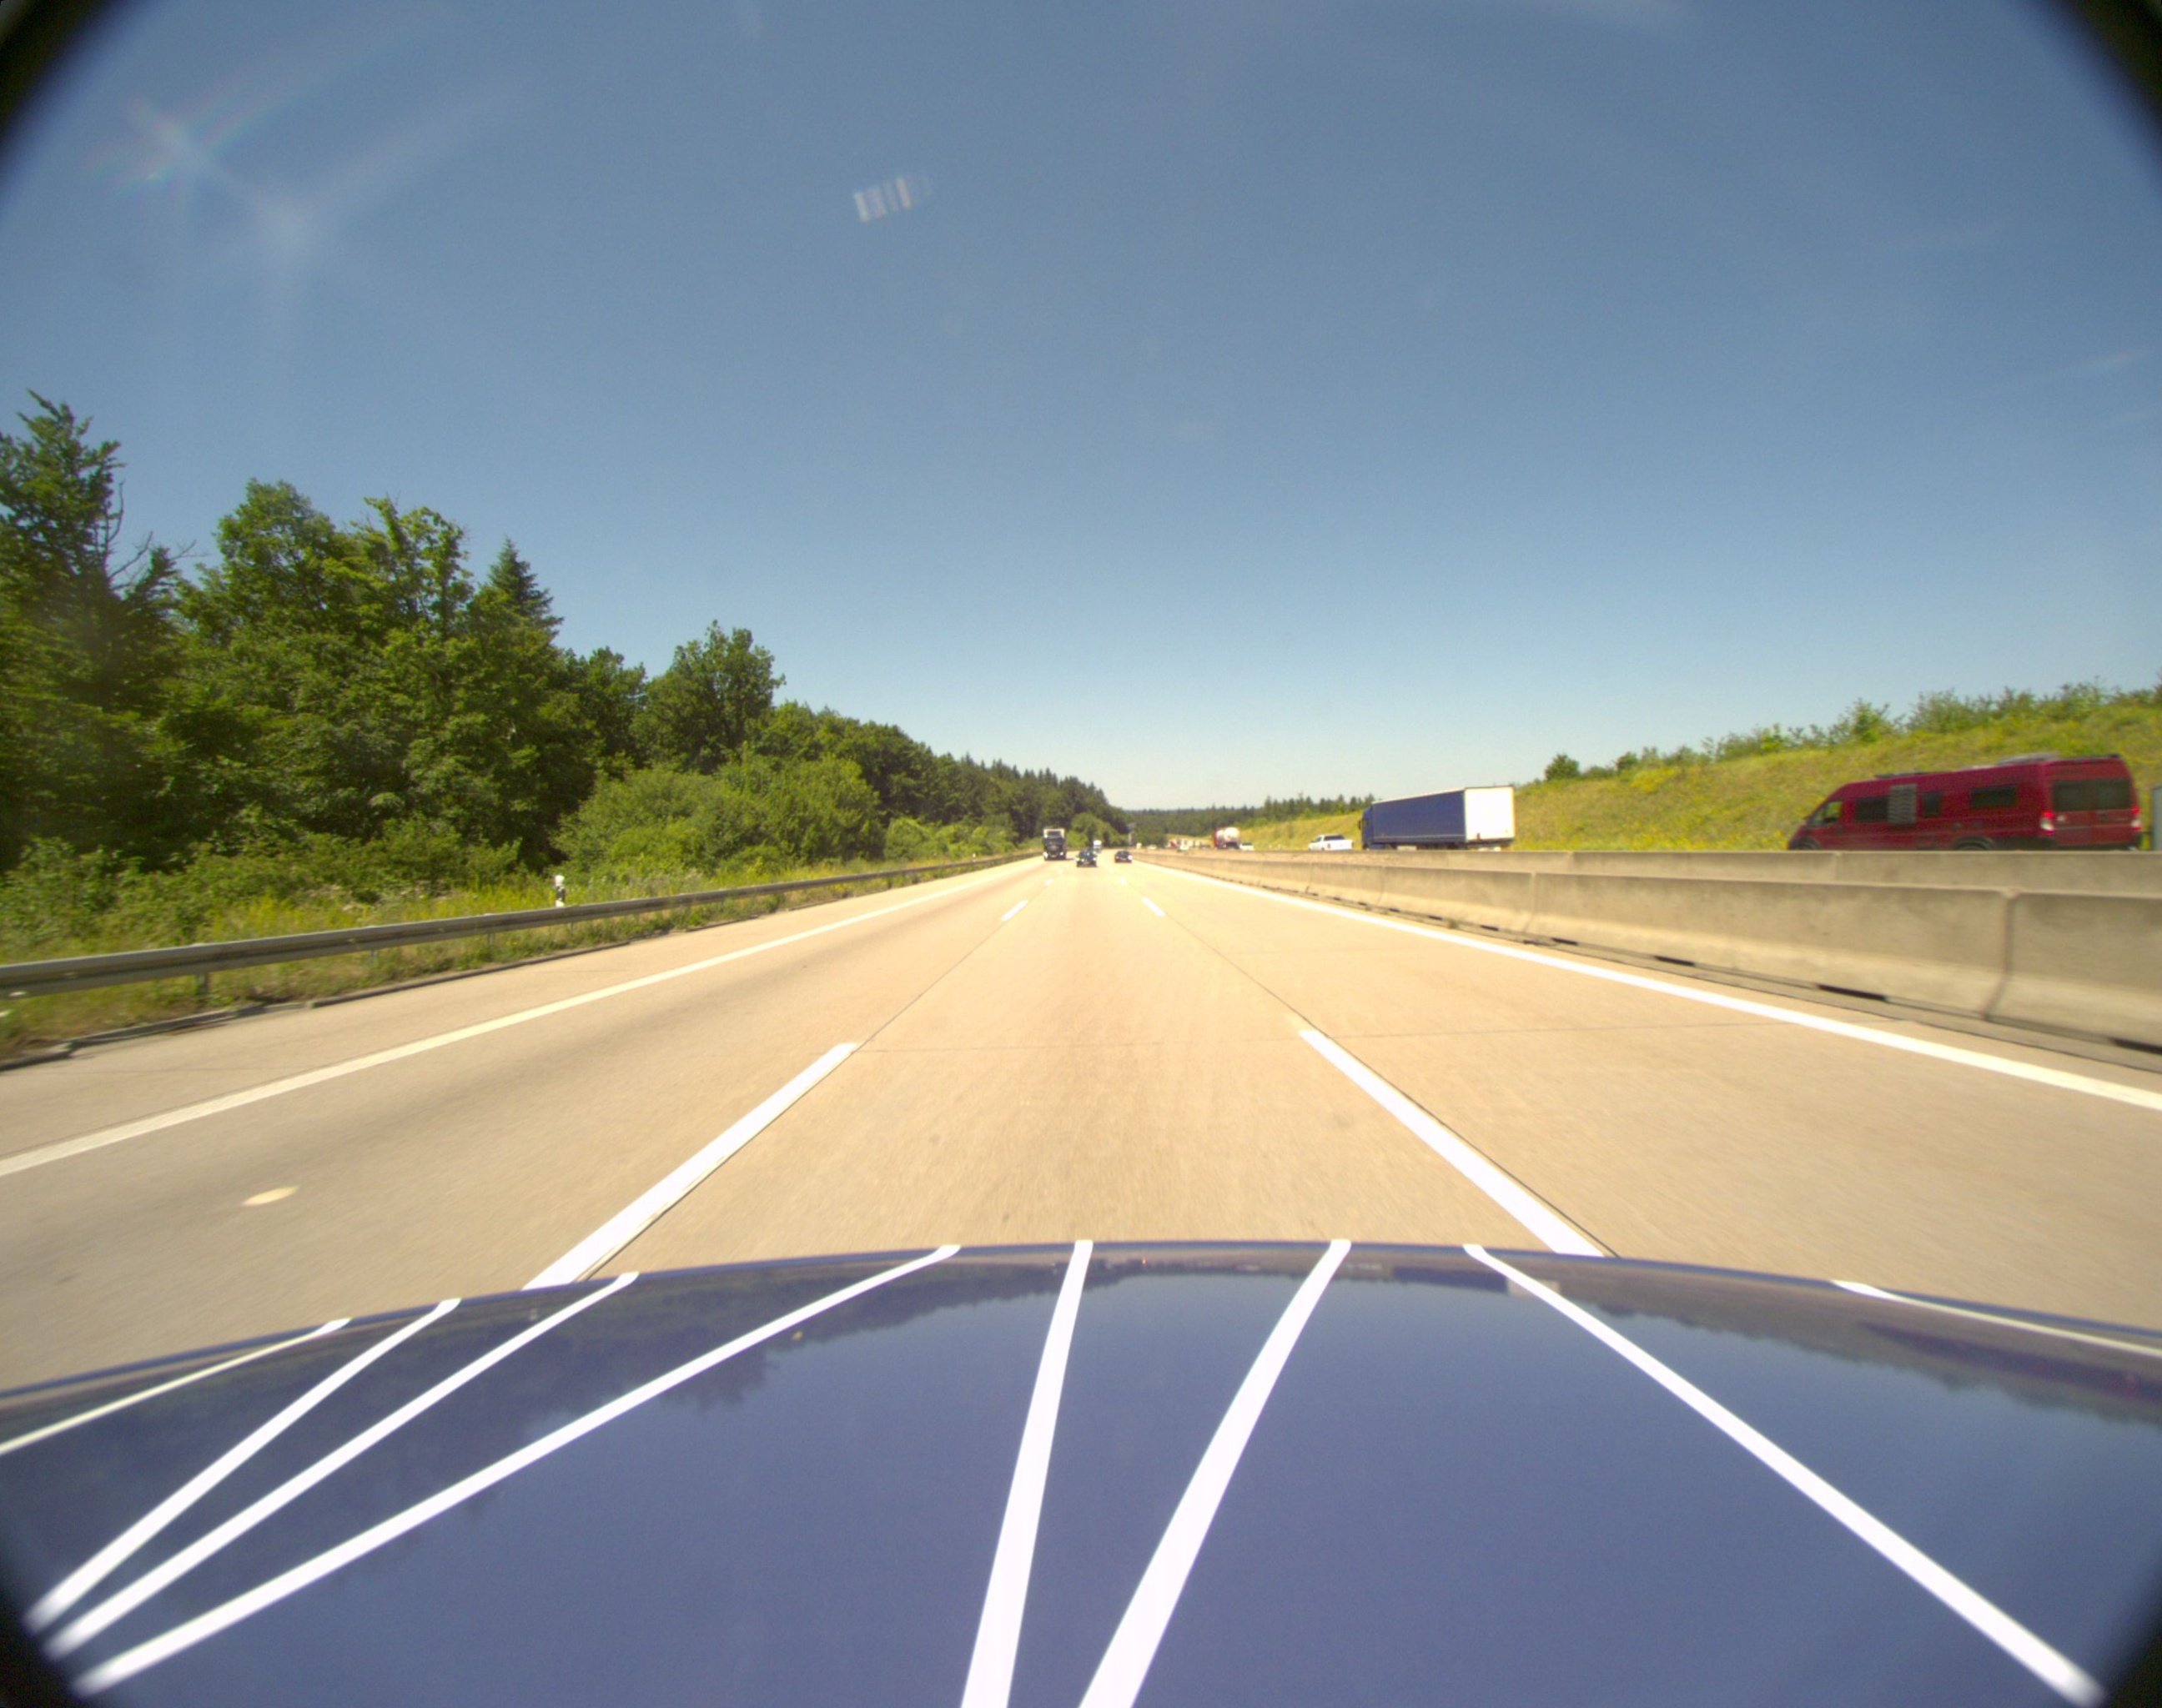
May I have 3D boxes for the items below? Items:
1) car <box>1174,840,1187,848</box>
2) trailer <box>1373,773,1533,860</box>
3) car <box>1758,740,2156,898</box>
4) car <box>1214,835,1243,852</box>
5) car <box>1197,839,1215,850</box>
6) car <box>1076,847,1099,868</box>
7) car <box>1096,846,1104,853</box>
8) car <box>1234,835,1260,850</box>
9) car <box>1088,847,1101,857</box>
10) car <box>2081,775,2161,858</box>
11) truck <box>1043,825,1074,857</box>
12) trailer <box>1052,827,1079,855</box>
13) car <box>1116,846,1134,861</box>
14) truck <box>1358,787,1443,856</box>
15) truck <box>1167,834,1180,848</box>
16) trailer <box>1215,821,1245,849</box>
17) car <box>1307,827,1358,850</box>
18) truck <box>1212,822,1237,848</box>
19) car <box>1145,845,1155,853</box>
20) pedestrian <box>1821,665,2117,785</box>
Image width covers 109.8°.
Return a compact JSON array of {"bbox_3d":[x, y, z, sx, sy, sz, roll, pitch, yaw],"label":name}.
[{"bbox_3d":[18.970,-1.906,144.457,1.998,1.574,4.179,-2,1,1],"label":"car"},{"bbox_3d":[22.230,-2.087,46.902,3.264,4.479,13.737,-2,1,1],"label":"trailer"},{"bbox_3d":[21.332,-0.750,19.295,1.998,3.223,7.060,-2,1,0],"label":"car"},{"bbox_3d":[14.462,-1.061,74.544,1.998,1.574,4.402,-2,1,1],"label":"car"},{"bbox_3d":[18.645,-1.450,113.480,1.998,1.574,4.429,-2,1,1],"label":"car"},{"bbox_3d":[0.622,0.267,68.568,1.931,1.694,4.399,-2,1,2],"label":"car"},{"bbox_3d":[4.755,-1.141,189.811,1.842,1.547,4.000,-2,1,4],"label":"car"},{"bbox_3d":[18.954,-1.303,86.952,1.998,1.574,4.529,-2,1,1],"label":"car"},{"bbox_3d":[2.346,-0.364,131.475,1.998,1.694,4.400,-2,1,2],"label":"car"},{"bbox_3d":[21.388,-0.706,13.833,1.618,1.591,3.576,0,1,1],"label":"car"},{"bbox_3d":[-2.953,-1.754,102.144,3.166,3.994,10.609,0,1,4],"label":"truck"},{"bbox_3d":[-2.250,-1.918,111.992,3.141,3.994,9.089,0,1,4],"label":"trailer"},{"bbox_3d":[4.876,-0.071,84.590,1.842,1.547,4.000,-2,1,3],"label":"car"},{"bbox_3d":[22.342,-2.203,53.548,3.264,4.479,6.574,-2,1,1],"label":"truck"},{"bbox_3d":[29.516,-4.111,242.406,2.921,4.487,11.258,0,1,2],"label":"truck"},{"bbox_3d":[23.443,-3.013,119.876,2.940,4.145,9.333,-2,1,1],"label":"trailer"},{"bbox_3d":[18.127,-1.120,55.049,1.998,1.574,5.518,-2,1,1],"label":"car"},{"bbox_3d":[23.528,-3.101,124.919,2.940,4.145,5.981,-2,1,1],"label":"truck"},{"bbox_3d":[16.052,-1.132,176.473,1.998,1.862,4.967,-2,1,1],"label":"car"},{"bbox_3d":[19.614,-2.746,17.116,1.998,2.002,3.999,-2,1,1],"label":"pedestrian"}]
